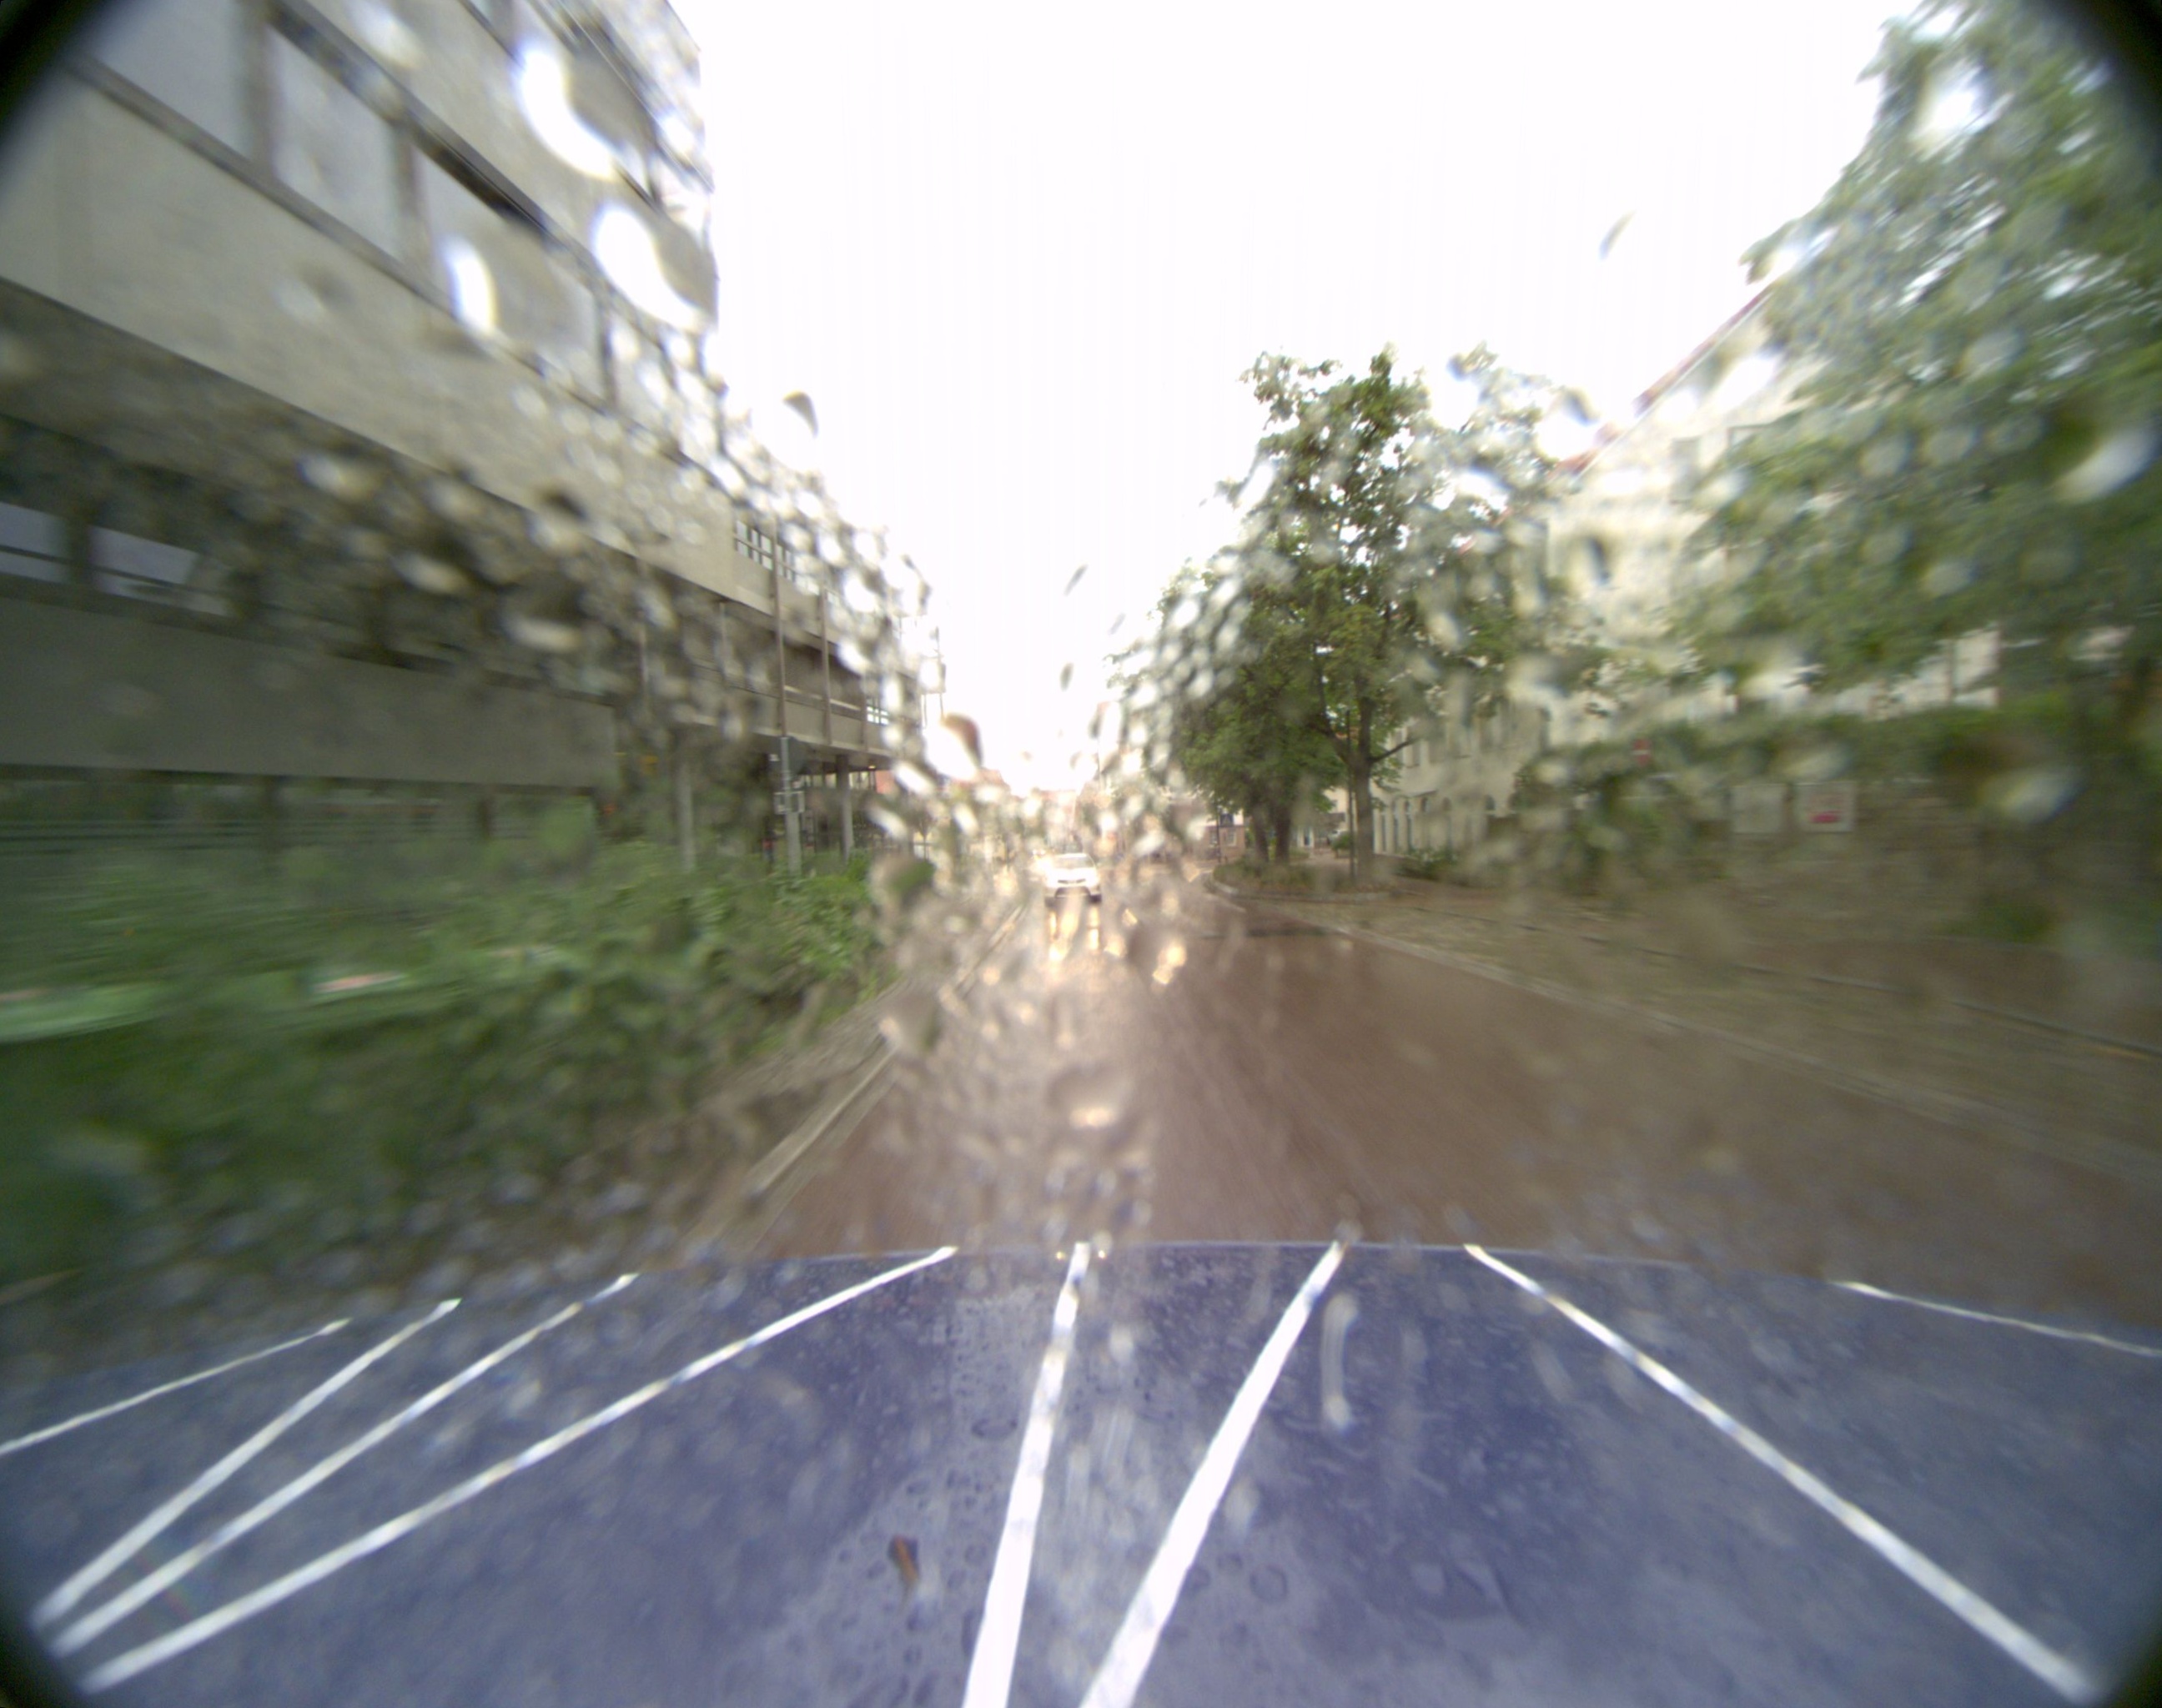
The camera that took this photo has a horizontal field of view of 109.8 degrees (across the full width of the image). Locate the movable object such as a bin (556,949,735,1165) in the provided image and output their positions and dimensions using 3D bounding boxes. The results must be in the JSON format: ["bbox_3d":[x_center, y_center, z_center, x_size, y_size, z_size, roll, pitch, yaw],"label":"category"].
[{"bbox_3d":[-2.627,1.186,4.622,0.704,1.118,0.572,-1,2,17],"label":"movable object such as a bin"}]

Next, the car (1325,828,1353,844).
[{"bbox_3d":[27.321,-1.940,80.488,1.829,1.612,3.889,-1,1,3],"label":"car"}]

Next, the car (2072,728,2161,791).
[{"bbox_3d":[26.422,-2.352,17.734,1.616,1.336,3.637,-8,3,-9],"label":"car"}]

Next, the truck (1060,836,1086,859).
[{"bbox_3d":[-1.024,-0.791,95.707,2.407,2.579,6.480,-3,-1,-7],"label":"truck"}]

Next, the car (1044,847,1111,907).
[{"bbox_3d":[-0.196,0.632,24.322,1.868,1.578,4.612,-3,2,-3],"label":"car"}]

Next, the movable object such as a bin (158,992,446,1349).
[{"bbox_3d":[-3.119,1.186,3.065,0.704,1.104,0.572,-1,2,26],"label":"movable object such as a bin"}]

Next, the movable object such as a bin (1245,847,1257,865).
[{"bbox_3d":[10.430,0.133,46.636,0.634,1.053,0.699,-1,2,20],"label":"movable object such as a bin"}]

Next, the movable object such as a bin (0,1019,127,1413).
[{"bbox_3d":[-3.703,1.197,2.512,0.704,1.096,0.572,0,3,44],"label":"movable object such as a bin"}]

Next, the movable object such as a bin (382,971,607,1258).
[{"bbox_3d":[-2.811,1.180,3.663,0.704,1.101,0.572,0,2,28],"label":"movable object such as a bin"}]
